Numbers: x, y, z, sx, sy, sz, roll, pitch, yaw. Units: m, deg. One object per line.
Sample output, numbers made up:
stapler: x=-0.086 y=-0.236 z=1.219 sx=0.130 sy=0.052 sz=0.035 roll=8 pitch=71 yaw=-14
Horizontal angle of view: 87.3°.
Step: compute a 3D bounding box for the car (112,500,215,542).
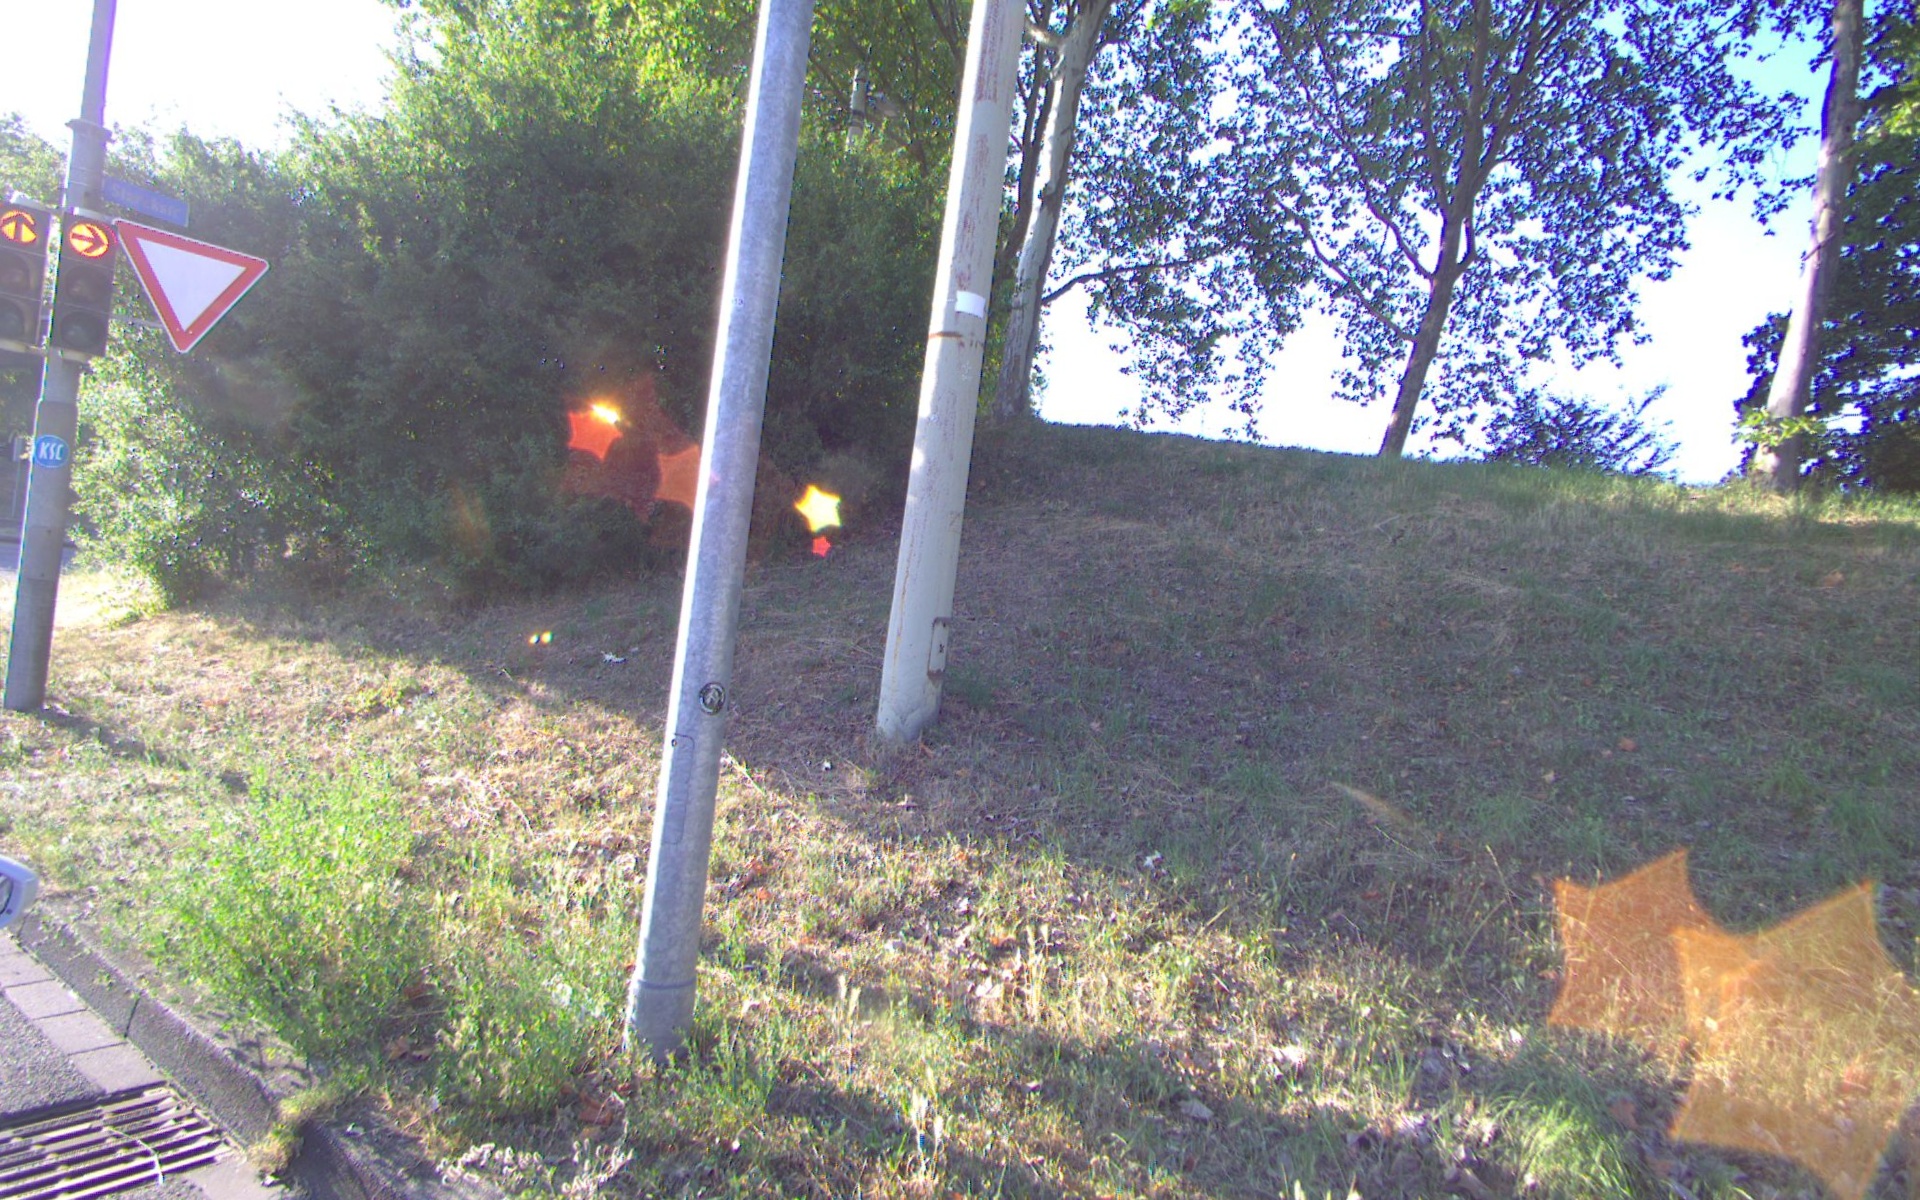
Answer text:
car: x=-42.558 y=-4.195 z=53.868 sx=1.661 sy=1.529 sz=4.012 roll=7 pitch=-2 yaw=13
